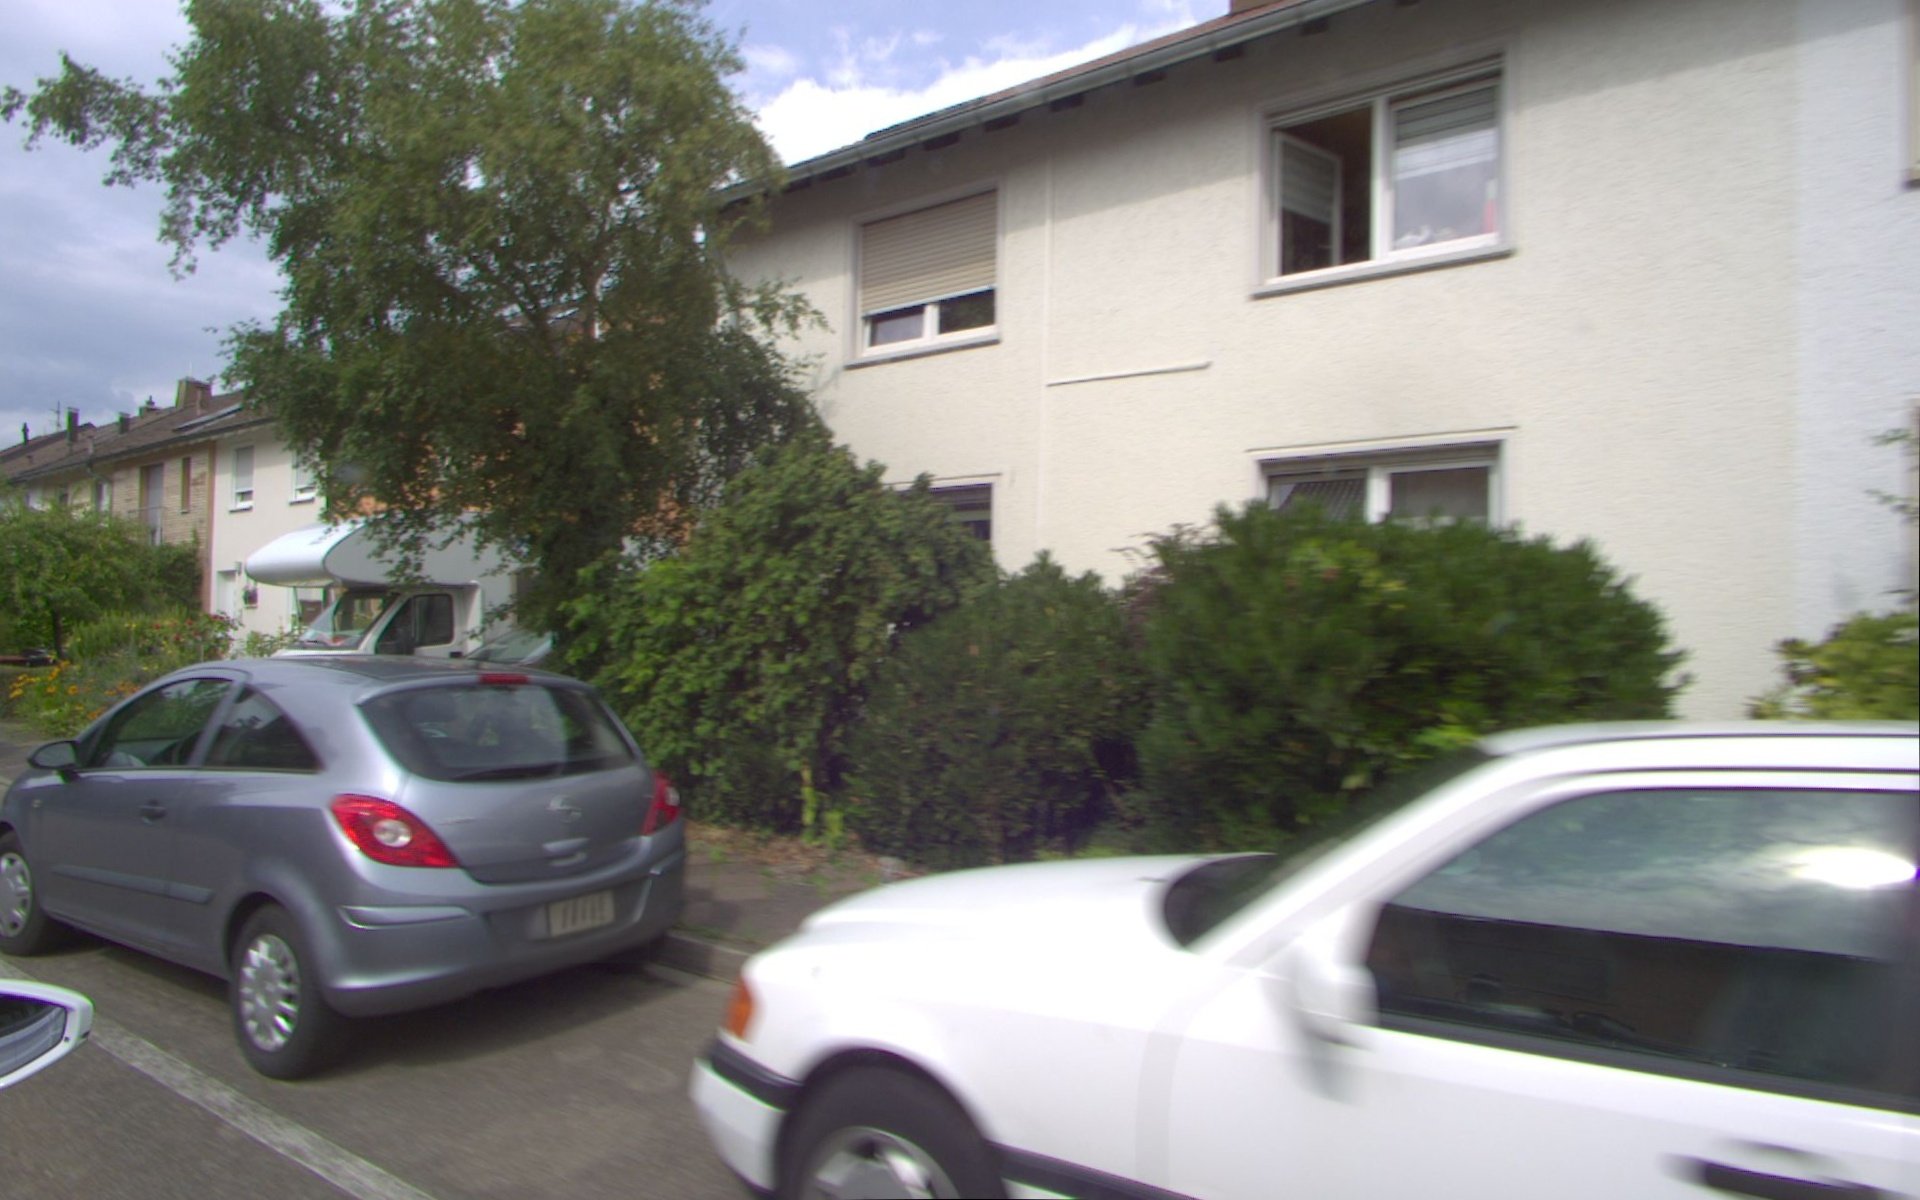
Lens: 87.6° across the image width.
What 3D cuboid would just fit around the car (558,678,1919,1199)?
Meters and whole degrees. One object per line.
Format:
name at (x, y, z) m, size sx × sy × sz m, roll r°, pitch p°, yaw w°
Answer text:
car at (1.409, 0.940, 2.003) m, size 4.630 × 1.382 × 1.691 m, roll 0°, pitch -3°, yaw 32°

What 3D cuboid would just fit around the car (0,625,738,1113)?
car at (-3.274, 0.903, 4.942) m, size 4.153 × 1.489 × 1.740 m, roll 0°, pitch -2°, yaw 30°

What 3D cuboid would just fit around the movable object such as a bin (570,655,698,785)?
movable object such as a bin at (-3.335, 1.189, 10.256) m, size 1.084 × 1.209 × 0.718 m, roll 0°, pitch -1°, yaw 33°

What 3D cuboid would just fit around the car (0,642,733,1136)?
car at (-3.277, 0.991, 4.908) m, size 4.157 × 1.459 × 1.702 m, roll 0°, pitch -4°, yaw 31°

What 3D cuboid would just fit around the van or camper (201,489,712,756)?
van or camper at (-6.525, 0.362, 13.798) m, size 2.503 × 2.853 × 5.783 m, roll 0°, pitch -2°, yaw 36°

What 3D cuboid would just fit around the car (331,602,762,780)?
car at (-4.732, 1.011, 12.152) m, size 1.874 × 1.729 × 4.521 m, roll 0°, pitch -3°, yaw 35°
